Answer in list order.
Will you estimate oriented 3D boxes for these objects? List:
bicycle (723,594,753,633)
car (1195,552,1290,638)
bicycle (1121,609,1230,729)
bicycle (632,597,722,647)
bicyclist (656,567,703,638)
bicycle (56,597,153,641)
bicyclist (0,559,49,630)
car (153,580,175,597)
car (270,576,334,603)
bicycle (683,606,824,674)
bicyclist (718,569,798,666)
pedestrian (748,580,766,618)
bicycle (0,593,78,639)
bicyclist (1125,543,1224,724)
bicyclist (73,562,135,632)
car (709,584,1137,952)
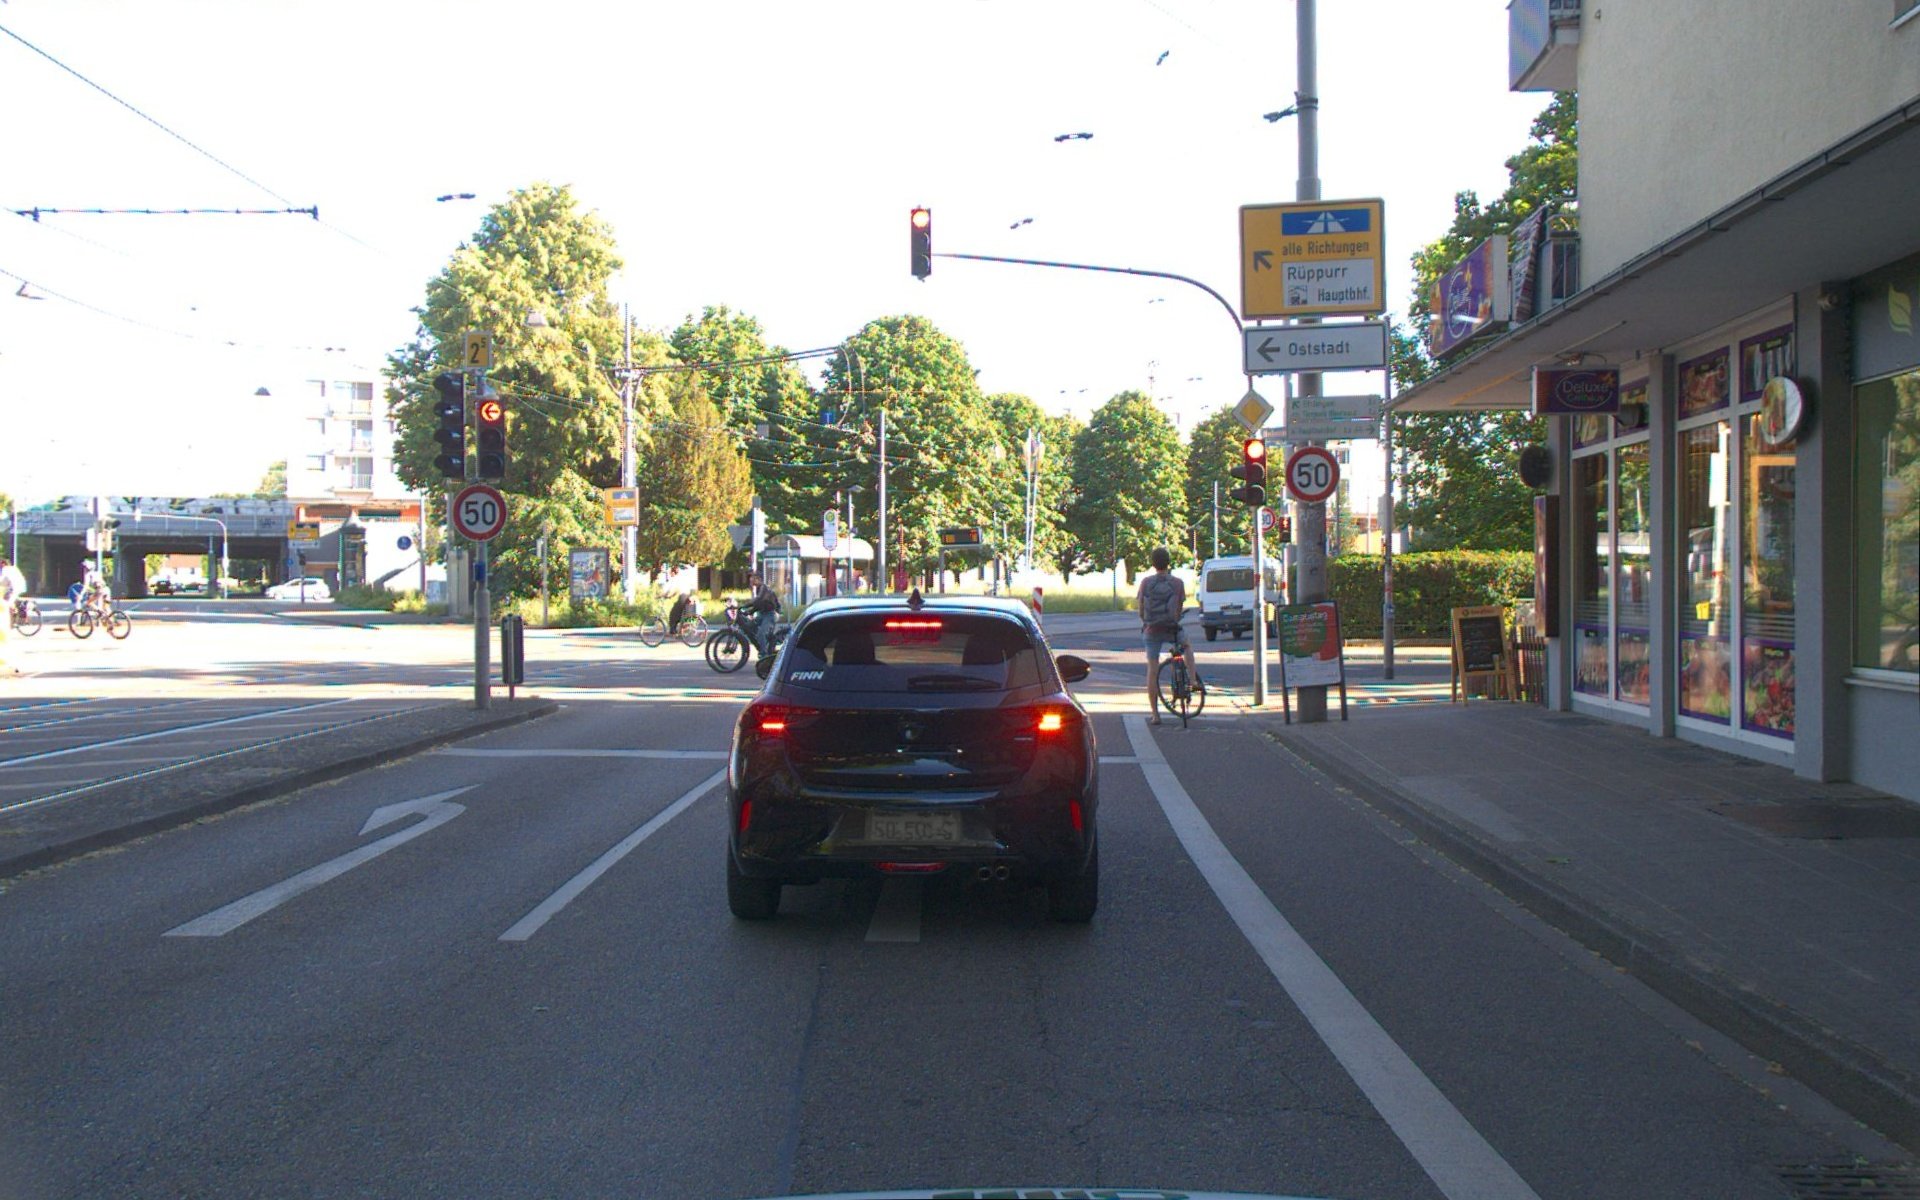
[{"bbox_3d":[-6.218,0.380,46.377,0.593,1.049,1.982,0,1,-1],"label":"bicycle"},{"bbox_3d":[8.011,-0.159,46.582,2.020,2.288,4.890,0,1,17],"label":"car"},{"bbox_3d":[2.296,0.706,17.869,0.842,1.173,2.171,-1,1,-1],"label":"bicycle"},{"bbox_3d":[-6.516,0.497,38.098,2.012,1.113,0.592,0,0,21],"label":"bicycle"},{"bbox_3d":[-6.454,0.048,38.061,0.843,1.623,0.649,0,0,21],"label":"bicyclist"},{"bbox_3d":[-19.953,0.446,38.577,2.014,1.001,0.673,0,0,10],"label":"bicycle"},{"bbox_3d":[-23.272,-0.149,40.952,0.907,1.737,0.876,0,0,9],"label":"bicyclist"},{"bbox_3d":[-89.012,-1.304,184.894,2.186,1.855,4.112,-1,1,-26],"label":"car"},{"bbox_3d":[-45.938,-0.728,115.483,4.120,1.836,1.724,-1,1,-24],"label":"car"},{"bbox_3d":[-3.386,0.644,27.181,2.162,1.051,0.828,-1,0,-24],"label":"bicycle"},{"bbox_3d":[-3.326,0.274,27.190,1.098,1.547,0.915,-1,0,-24],"label":"bicyclist"},{"bbox_3d":[-8.978,-0.048,73.166,0.623,1.658,0.572,1,0,6],"label":"pedestrian"},{"bbox_3d":[-23.114,0.394,40.940,2.244,1.103,0.801,0,0,9],"label":"bicycle"},{"bbox_3d":[2.294,0.347,17.772,0.922,1.883,0.864,-1,0,-1],"label":"bicyclist"},{"bbox_3d":[-19.974,-0.071,38.585,0.988,1.598,0.800,0,0,10],"label":"bicyclist"},{"bbox_3d":[-0.167,0.657,8.694,1.692,1.454,4.186,1,0,-1],"label":"car"}]
